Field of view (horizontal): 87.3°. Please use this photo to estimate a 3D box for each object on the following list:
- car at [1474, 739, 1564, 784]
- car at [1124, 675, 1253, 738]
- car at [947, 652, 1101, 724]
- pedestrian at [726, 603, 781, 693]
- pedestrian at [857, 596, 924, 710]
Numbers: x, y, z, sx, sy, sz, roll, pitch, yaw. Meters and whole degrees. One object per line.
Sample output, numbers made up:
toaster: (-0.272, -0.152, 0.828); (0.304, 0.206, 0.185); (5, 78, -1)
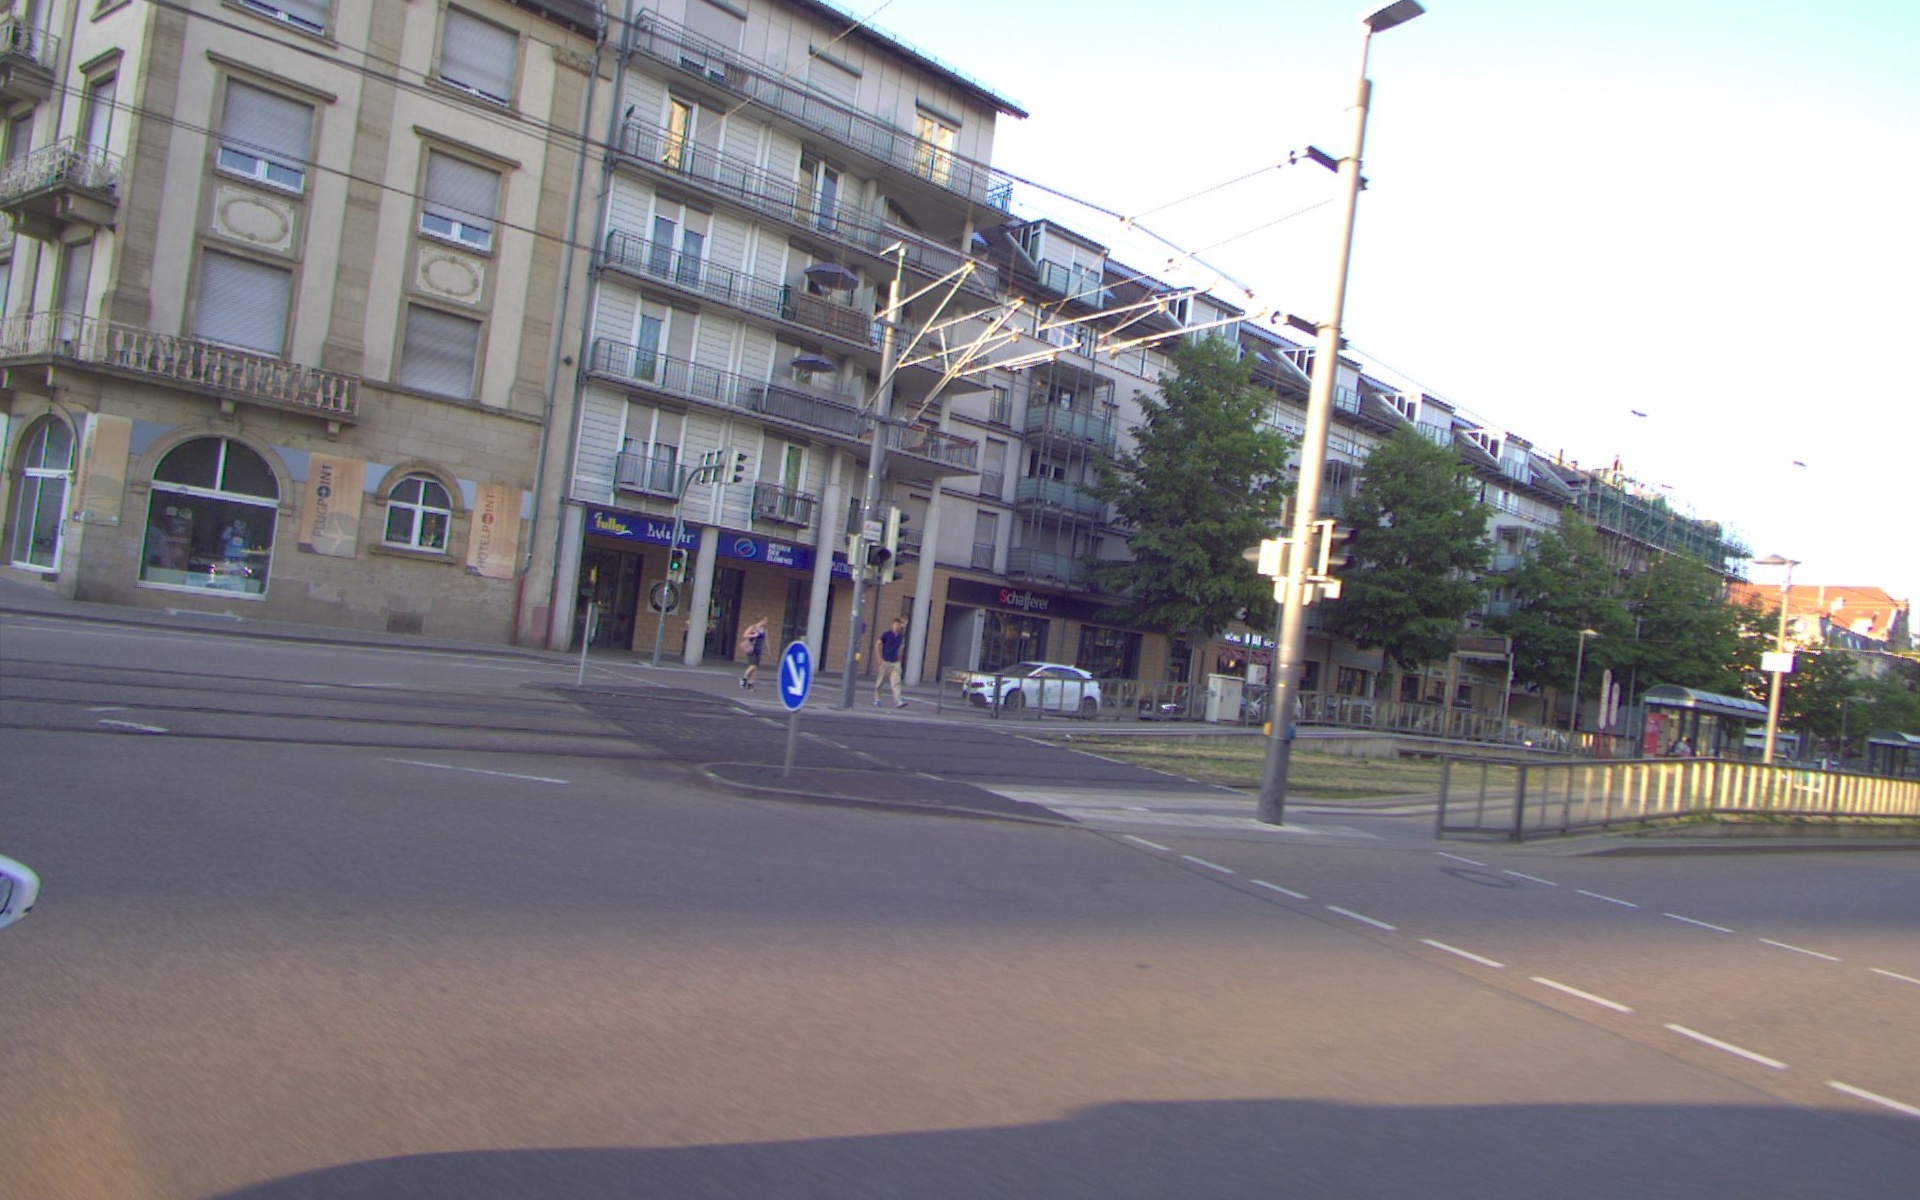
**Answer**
car: (25.071, 7.246, 45.106); (3.964, 1.502, 1.834); (10, -4, -33)
car: (7.396, 3.443, 32.413); (3.971, 1.502, 1.831); (10, -4, -38)
car: (1.837, 2.500, 28.486); (3.964, 1.502, 1.834); (10, -4, -33)
pedestrian: (-4.361, 1.008, 21.272); (0.782, 1.798, 0.539); (9, -3, -32)
pedestrian: (-1.444, 1.092, 20.880); (0.813, 2.233, 0.863); (9, -3, -33)
